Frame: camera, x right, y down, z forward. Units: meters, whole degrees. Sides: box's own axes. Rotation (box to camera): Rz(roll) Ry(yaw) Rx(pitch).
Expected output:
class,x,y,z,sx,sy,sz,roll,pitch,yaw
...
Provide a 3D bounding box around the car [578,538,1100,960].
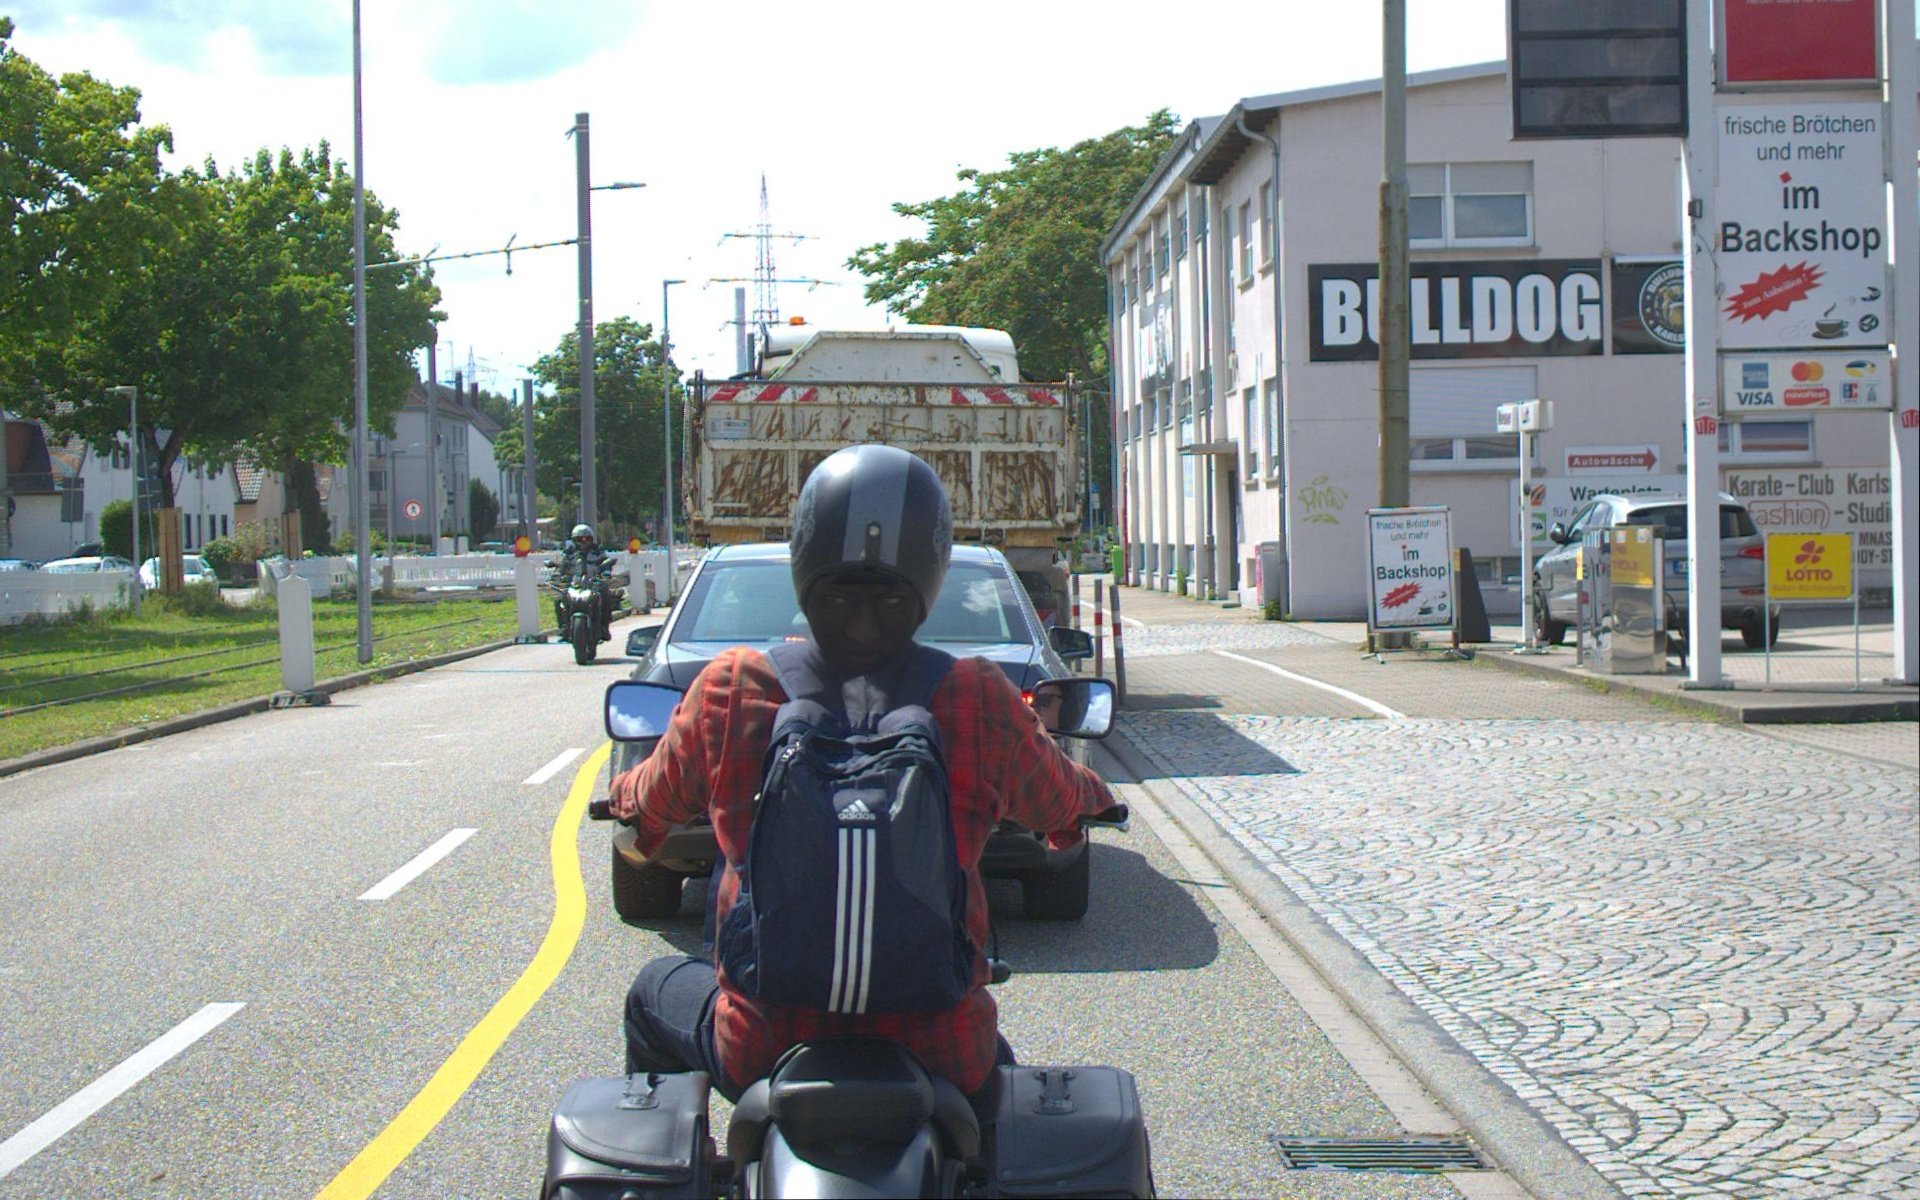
class,x,y,z,sx,sy,sz,roll,pitch,yaw
car,-0.451,0.491,14.147,1.823,1.447,4.000,1,1,-1

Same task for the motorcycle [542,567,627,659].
class,x,y,z,sx,sy,sz,roll,pitch,yaw
motorcycle,-4.466,0.144,40.983,0.868,1.017,2.245,-1,1,-3

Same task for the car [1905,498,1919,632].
class,x,y,z,sx,sy,sz,roll,pitch,yaw
car,11.731,-0.379,37.092,1.806,1.498,3.834,-1,1,-3

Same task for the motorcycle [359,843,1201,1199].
class,x,y,z,sx,sy,sz,roll,pitch,yaw
motorcycle,-0.216,0.959,5.341,0.979,0.894,2.653,-1,1,-1

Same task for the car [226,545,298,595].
class,x,y,z,sx,sy,sz,roll,pitch,yaw
car,-25.417,-1.097,125.245,1.776,1.717,4.128,-1,1,0

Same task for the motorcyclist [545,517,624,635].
class,x,y,z,sx,sy,sz,roll,pitch,yaw
motorcyclist,-4.471,-0.290,40.999,0.868,1.373,0.800,-1,1,-3

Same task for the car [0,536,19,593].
class,x,y,z,sx,sy,sz,roll,pitch,yaw
car,-30.044,-1.059,104.409,1.776,1.717,4.128,-1,1,0

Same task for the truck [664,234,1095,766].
class,x,y,z,sx,sy,sz,roll,pitch,yaw
truck,-0.548,-0.717,25.594,2.638,3.285,8.057,-1,1,-1

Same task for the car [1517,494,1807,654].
class,x,y,z,sx,sy,sz,roll,pitch,yaw
car,7.376,-0.304,36.523,1.667,1.557,4.245,-1,1,-8

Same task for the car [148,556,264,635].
class,x,y,z,sx,sy,sz,roll,pitch,yaw
car,-17.498,-0.128,79.963,1.776,1.717,4.128,-1,1,0

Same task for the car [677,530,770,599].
class,x,y,z,sx,sy,sz,roll,pitch,yaw
car,-5.370,-0.832,78.428,1.823,1.447,4.324,-2,1,-1

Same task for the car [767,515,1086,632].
class,x,y,z,sx,sy,sz,roll,pitch,yaw
car,-0.448,-0.382,48.424,4.232,1.537,1.672,-1,1,10

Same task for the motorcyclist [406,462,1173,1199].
class,x,y,z,sx,sy,sz,roll,pitch,yaw
motorcyclist,-0.220,0.616,5.029,0.979,1.597,1.088,-1,1,-1
